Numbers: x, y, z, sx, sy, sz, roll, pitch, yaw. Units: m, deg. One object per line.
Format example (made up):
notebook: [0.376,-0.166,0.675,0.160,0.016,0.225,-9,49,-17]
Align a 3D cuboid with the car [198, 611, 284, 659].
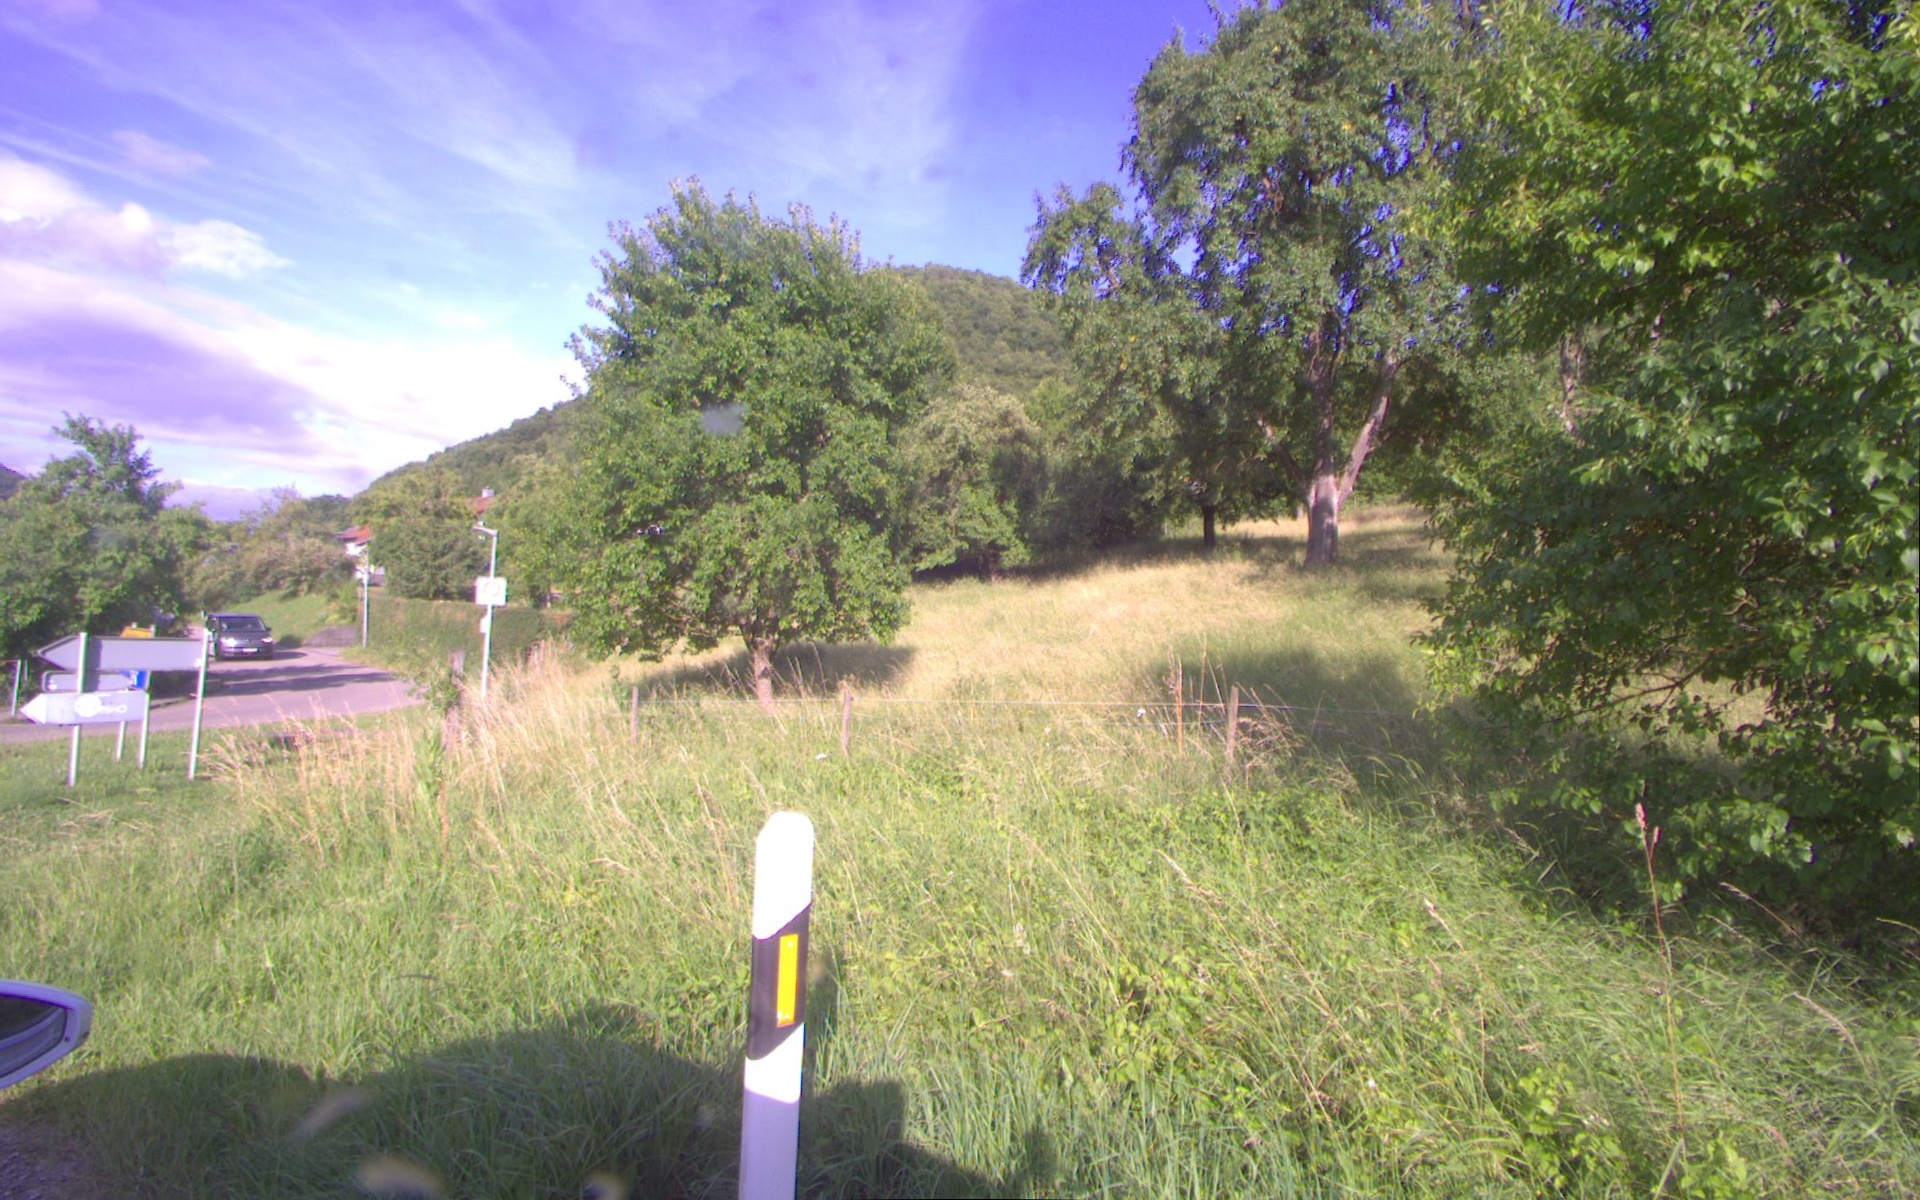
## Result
car: [-30.740,1.459,42.750,4.817,1.900,1.984,0,-3,43]
